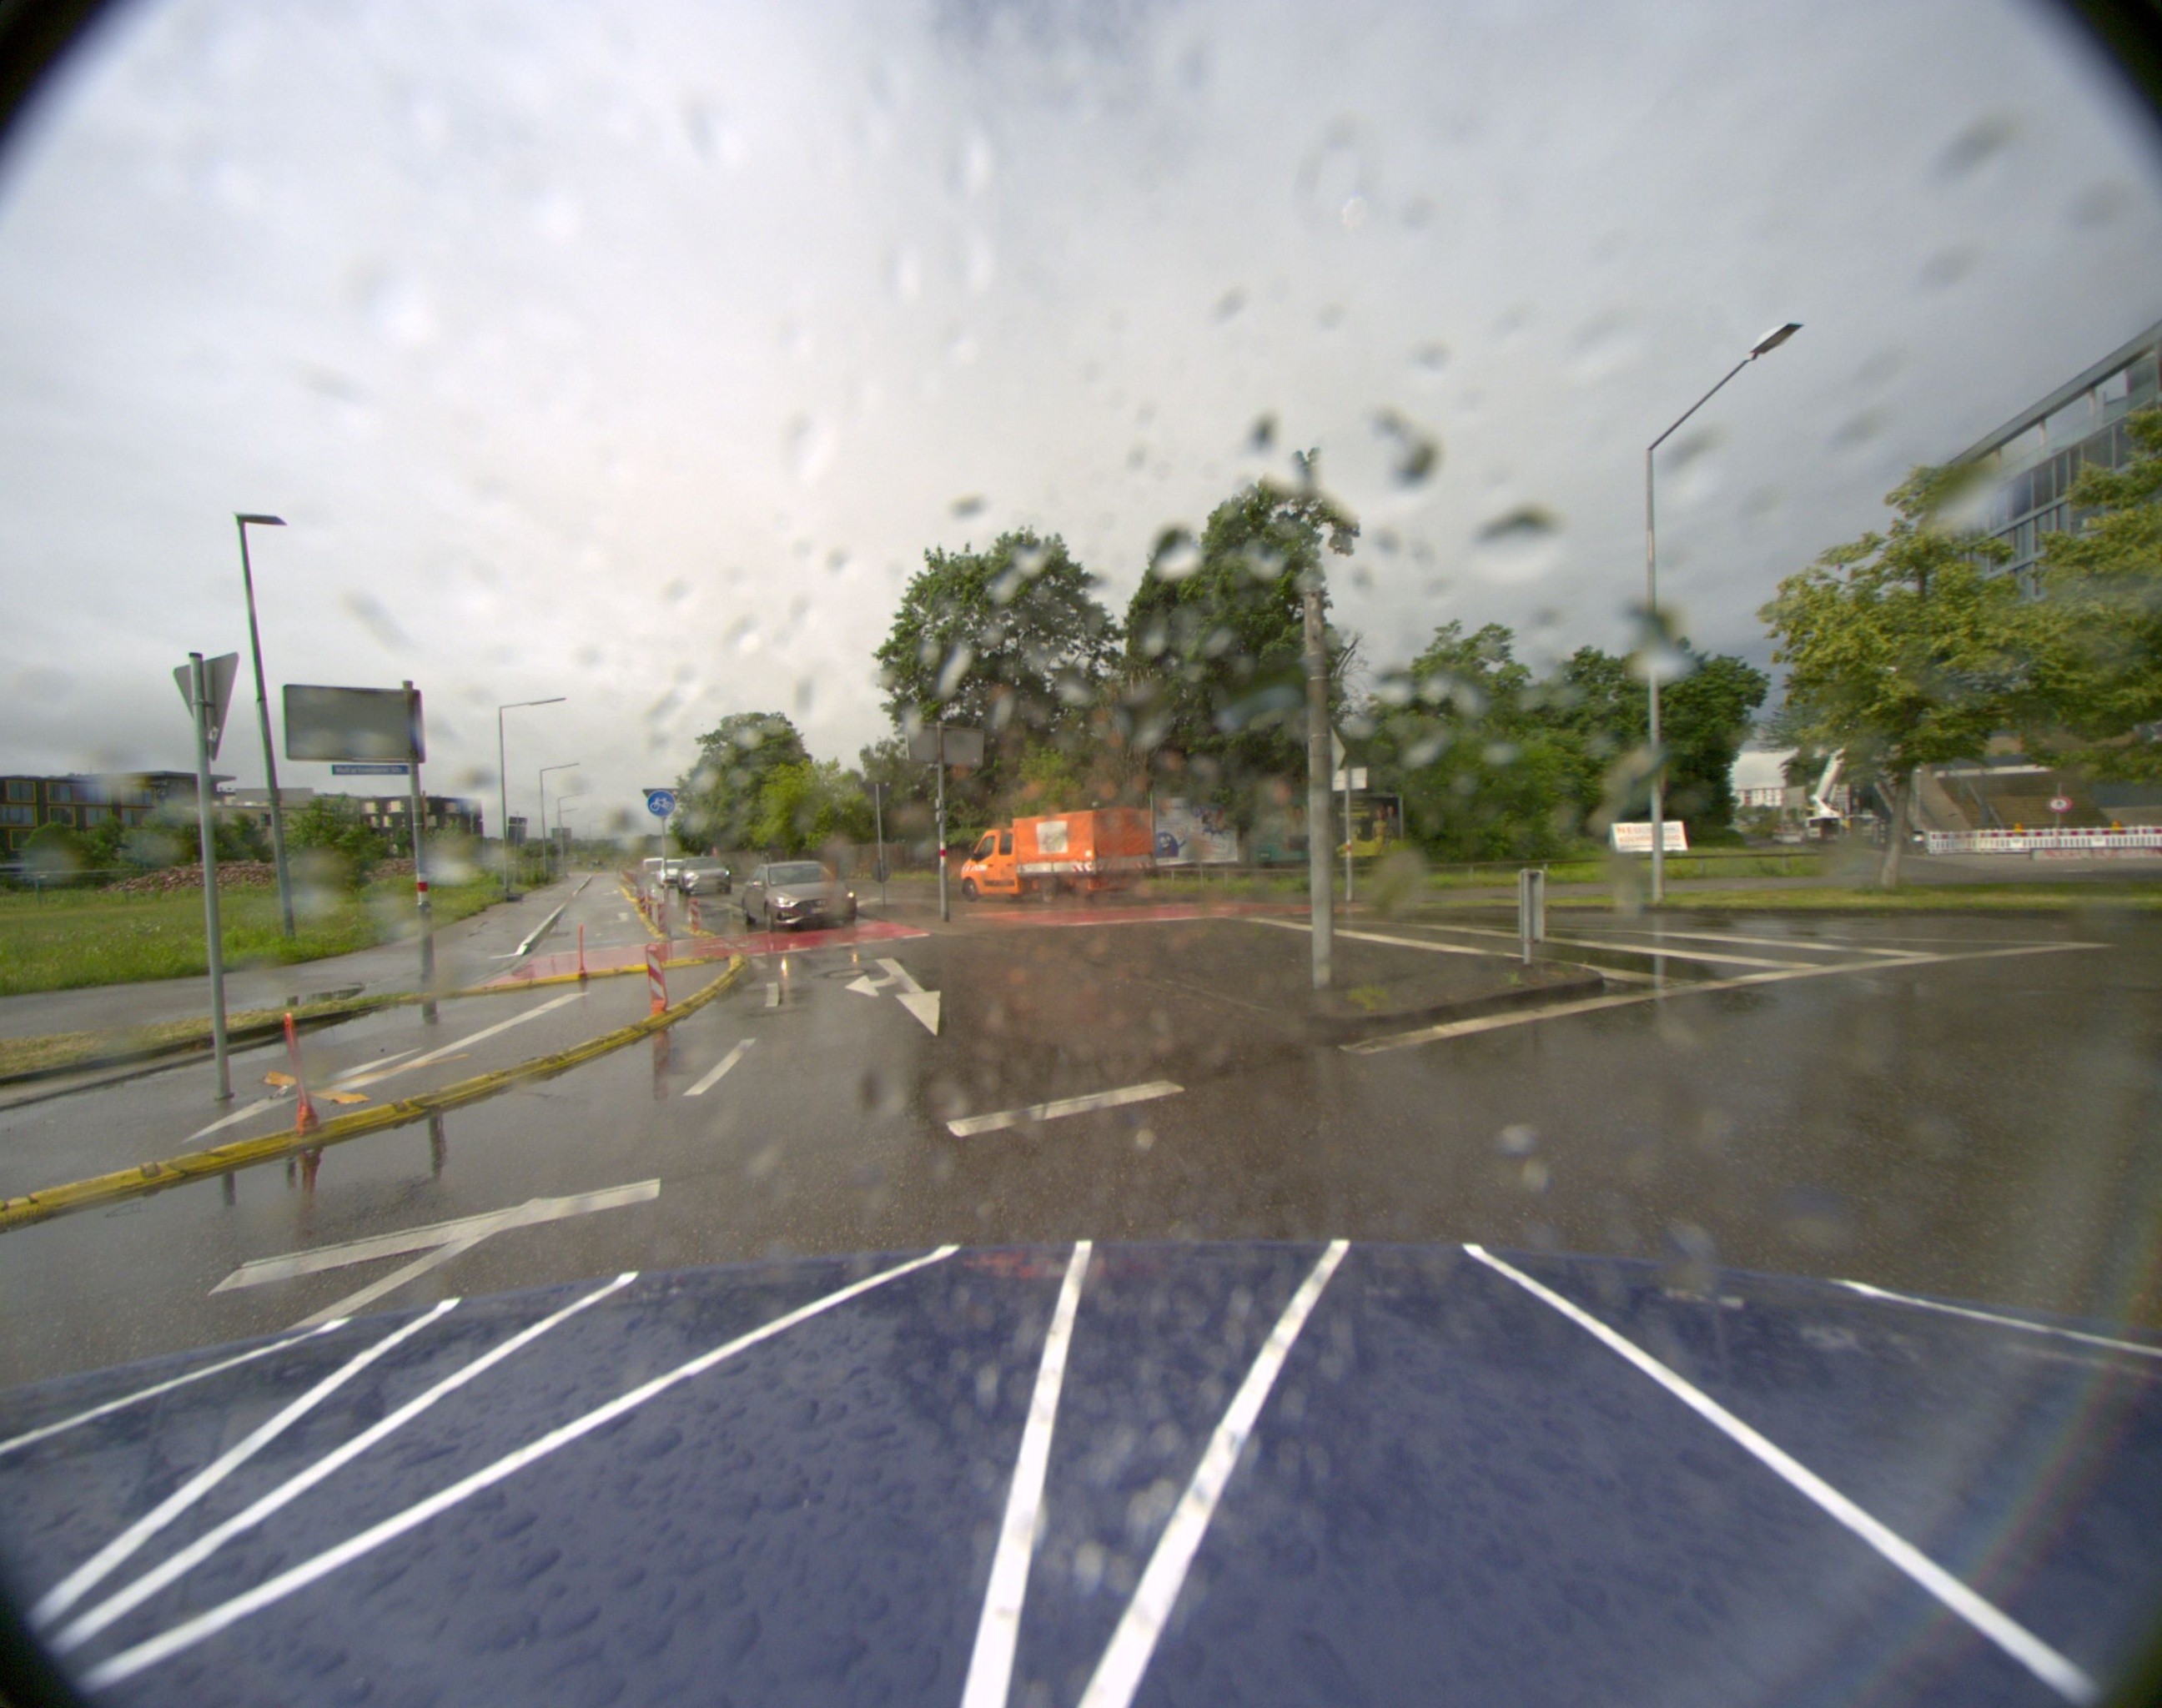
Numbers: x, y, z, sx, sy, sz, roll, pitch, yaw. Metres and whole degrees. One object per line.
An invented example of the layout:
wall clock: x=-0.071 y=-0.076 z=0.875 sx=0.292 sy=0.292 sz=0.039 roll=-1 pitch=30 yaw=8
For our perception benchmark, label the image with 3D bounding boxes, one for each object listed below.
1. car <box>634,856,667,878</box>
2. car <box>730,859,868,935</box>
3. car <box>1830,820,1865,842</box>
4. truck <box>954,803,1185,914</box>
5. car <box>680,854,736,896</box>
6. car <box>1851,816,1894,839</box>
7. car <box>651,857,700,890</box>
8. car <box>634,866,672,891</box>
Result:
car: x=-36.345 y=1.066 z=64.149 sx=1.878 sy=1.654 sz=4.472 roll=-6 pitch=2 yaw=-35
car: x=-6.439 y=0.908 z=17.084 sx=1.738 sy=1.405 sz=4.117 roll=-4 pitch=1 yaw=-37
car: x=62.923 y=-1.858 z=62.341 sx=4.480 sy=1.662 sz=1.861 roll=-1 pitch=0 yaw=-42
truck: x=-0.574 y=0.134 z=21.898 sx=2.466 sy=2.711 sz=6.926 roll=-3 pitch=1 yaw=-45
car: x=-16.739 y=0.902 z=34.005 sx=1.878 sy=1.654 sz=4.473 roll=-4 pitch=2 yaw=-29
car: x=59.638 y=-1.952 z=57.240 sx=4.479 sy=1.662 sz=1.862 roll=-1 pitch=0 yaw=-39
car: x=-23.674 y=1.103 z=44.317 sx=1.878 sy=1.654 sz=4.472 roll=-5 pitch=2 yaw=-35
car: x=-31.502 y=1.761 z=55.841 sx=1.878 sy=1.654 sz=4.472 roll=-6 pitch=2 yaw=-35
